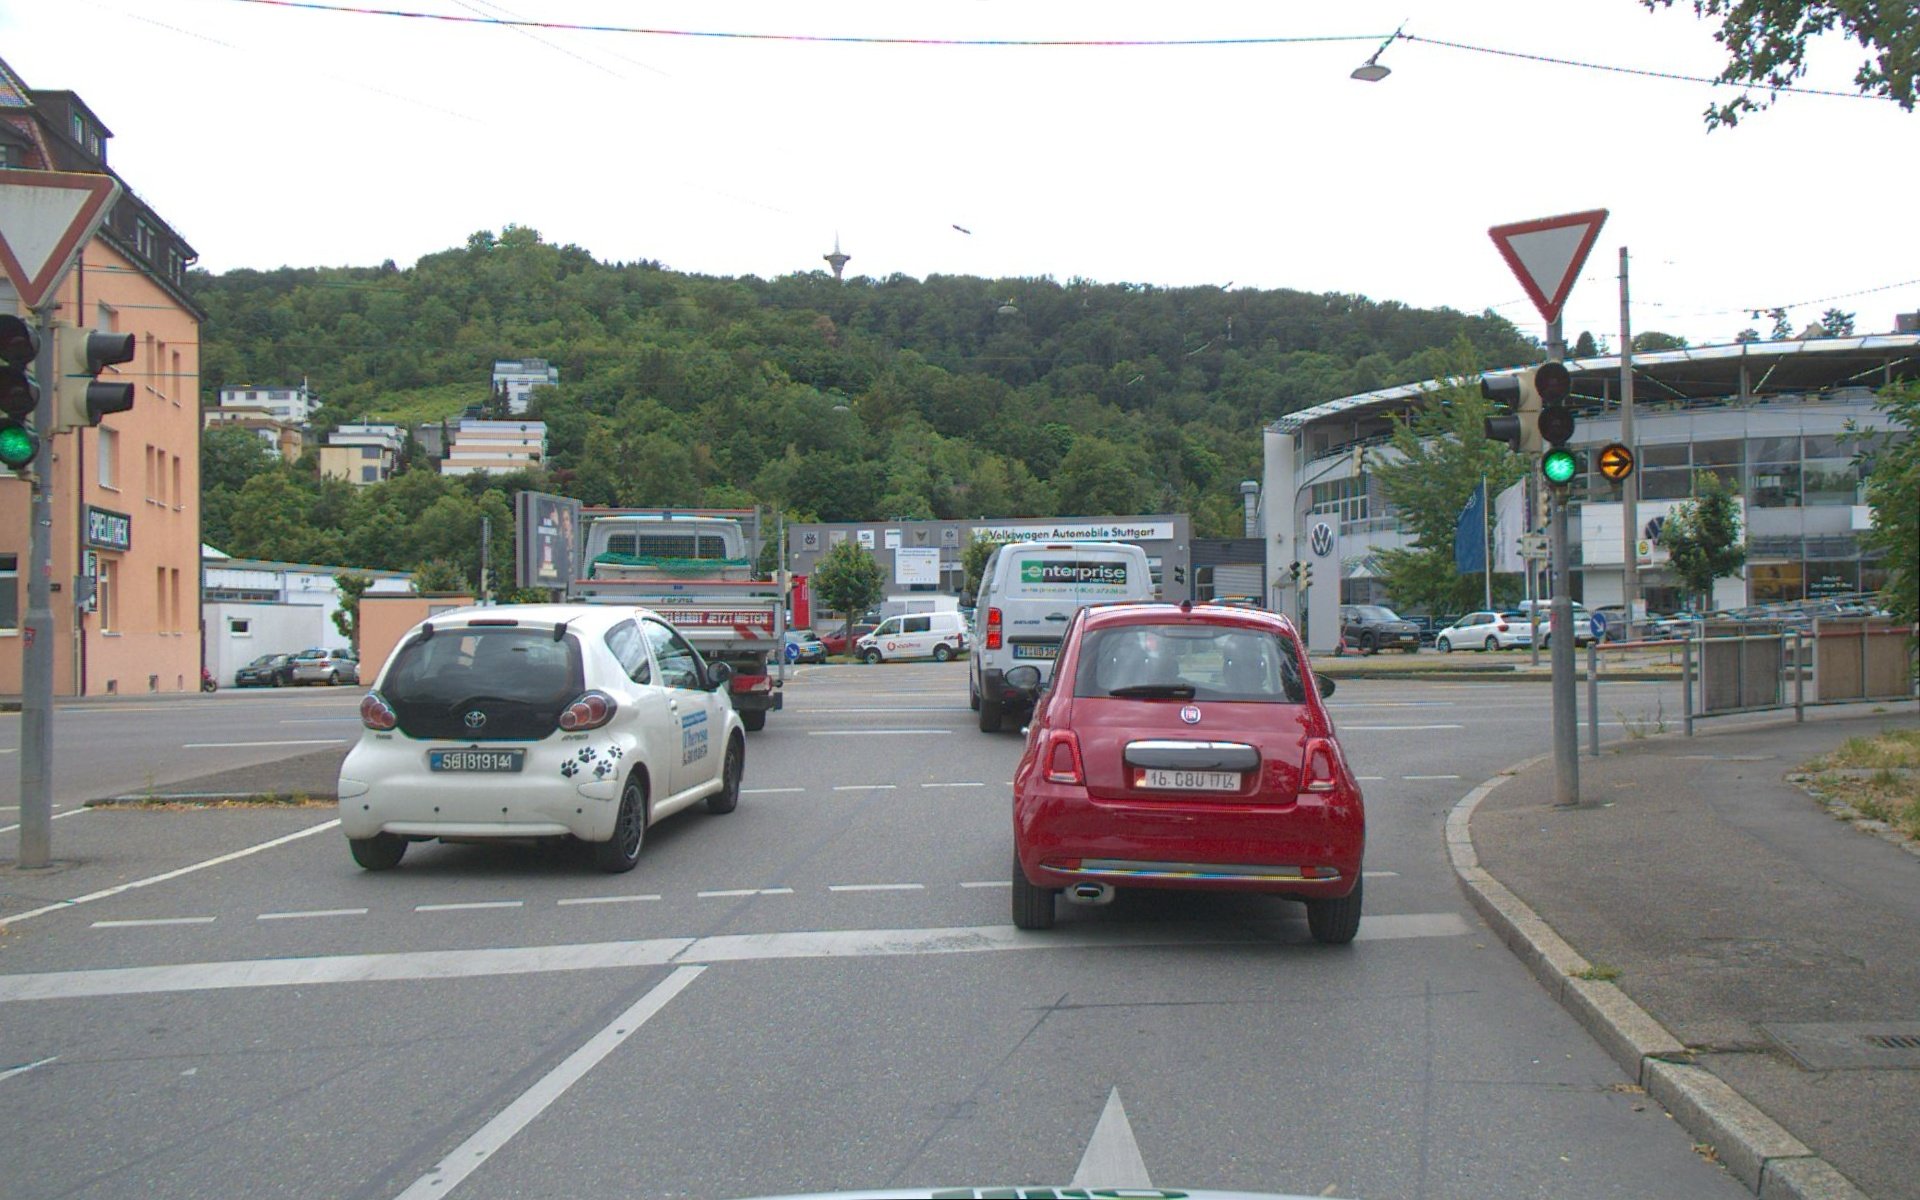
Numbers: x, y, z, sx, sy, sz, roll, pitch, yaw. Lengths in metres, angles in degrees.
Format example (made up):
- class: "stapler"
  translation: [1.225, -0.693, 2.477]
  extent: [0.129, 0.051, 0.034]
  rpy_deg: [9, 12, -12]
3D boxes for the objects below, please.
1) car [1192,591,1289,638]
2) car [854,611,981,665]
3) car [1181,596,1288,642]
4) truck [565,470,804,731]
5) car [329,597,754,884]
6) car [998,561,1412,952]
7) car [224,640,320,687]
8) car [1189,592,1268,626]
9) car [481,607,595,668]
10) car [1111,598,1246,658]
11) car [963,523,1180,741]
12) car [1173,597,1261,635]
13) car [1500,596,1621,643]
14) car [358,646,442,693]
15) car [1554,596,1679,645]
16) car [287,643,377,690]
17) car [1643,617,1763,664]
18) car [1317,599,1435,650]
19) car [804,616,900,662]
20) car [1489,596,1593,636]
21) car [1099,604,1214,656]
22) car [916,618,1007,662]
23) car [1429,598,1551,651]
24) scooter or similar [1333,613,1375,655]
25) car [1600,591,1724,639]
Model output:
- class: "car"
  translation: [13.610, 0.733, 80.394]
  extent: [4.401, 2.032, 2.001]
  rpy_deg: [2, -2, 5]
- class: "car"
  translation: [-1.750, 1.610, 68.443]
  extent: [4.894, 2.049, 2.001]
  rpy_deg: [-2, -3, 10]
- class: "car"
  translation: [12.022, 0.845, 72.560]
  extent: [4.401, 1.759, 2.001]
  rpy_deg: [2, -2, 4]
- class: "truck"
  translation: [-3.250, 0.017, 18.670]
  extent: [2.273, 2.464, 5.635]
  rpy_deg: [0, 0, -13]
- class: "car"
  translation: [-2.396, 0.731, 10.293]
  extent: [1.560, 1.445, 3.375]
  rpy_deg: [-2, 0, 4]
- class: "car"
  translation: [1.266, 0.681, 8.952]
  extent: [1.662, 1.552, 4.003]
  rpy_deg: [3, -1, 7]
- class: "car"
  translation: [-29.358, 2.716, 70.720]
  extent: [1.952, 1.871, 4.511]
  rpy_deg: [2, -2, 2]
- class: "car"
  translation: [15.709, 0.542, 96.975]
  extent: [4.401, 1.759, 2.001]
  rpy_deg: [2, -2, 4]
- class: "car"
  translation: [-17.525, 1.584, 68.781]
  extent: [4.420, 2.282, 1.992]
  rpy_deg: [3, -2, -14]
- class: "car"
  translation: [6.986, 0.861, 52.794]
  extent: [3.904, 1.668, 2.001]
  rpy_deg: [2, 2, 19]
- class: "car"
  translation: [1.110, 0.290, 18.783]
  extent: [1.958, 2.076, 4.830]
  rpy_deg: [2, 1, -2]
- class: "car"
  translation: [13.577, 0.856, 87.590]
  extent: [4.401, 1.759, 2.001]
  rpy_deg: [2, -2, 4]
- class: "car"
  translation: [20.970, 0.710, 57.896]
  extent: [1.783, 1.503, 3.973]
  rpy_deg: [3, -2, -22]
- class: "car"
  translation: [-24.060, 2.982, 71.217]
  extent: [1.953, 1.871, 4.510]
  rpy_deg: [3, -2, 1]
- class: "car"
  translation: [23.256, 0.746, 58.744]
  extent: [1.894, 1.581, 3.973]
  rpy_deg: [3, -2, -22]
- class: "car"
  translation: [-26.853, 2.840, 70.922]
  extent: [1.952, 1.871, 4.510]
  rpy_deg: [3, -2, 1]
- class: "car"
  translation: [27.274, 1.471, 60.834]
  extent: [1.699, 1.581, 3.973]
  rpy_deg: [3, -2, -22]
- class: "car"
  translation: [14.064, 0.828, 56.141]
  extent: [1.966, 1.669, 3.973]
  rpy_deg: [1, -1, -22]
- class: "car"
  translation: [-5.319, 1.944, 81.909]
  extent: [4.401, 2.032, 2.001]
  rpy_deg: [2, -2, 5]
- class: "car"
  translation: [24.882, 0.707, 70.933]
  extent: [1.901, 1.581, 3.959]
  rpy_deg: [4, -2, -30]
- class: "car"
  translation: [7.275, 1.126, 61.601]
  extent: [3.908, 1.736, 1.998]
  rpy_deg: [3, -2, -4]
- class: "car"
  translation: [0.099, 1.857, 76.266]
  extent: [3.902, 1.825, 1.854]
  rpy_deg: [2, -2, 8]
- class: "car"
  translation: [18.357, 0.851, 57.442]
  extent: [1.966, 1.669, 3.973]
  rpy_deg: [3, -2, -22]
- class: "scooter or similar"
  translation: [12.674, 1.099, 53.259]
  extent: [1.176, 1.311, 0.575]
  rpy_deg: [3, -2, 0]
- class: "car"
  translation: [25.297, 0.559, 59.740]
  extent: [1.894, 1.581, 3.973]
  rpy_deg: [3, -2, -22]
